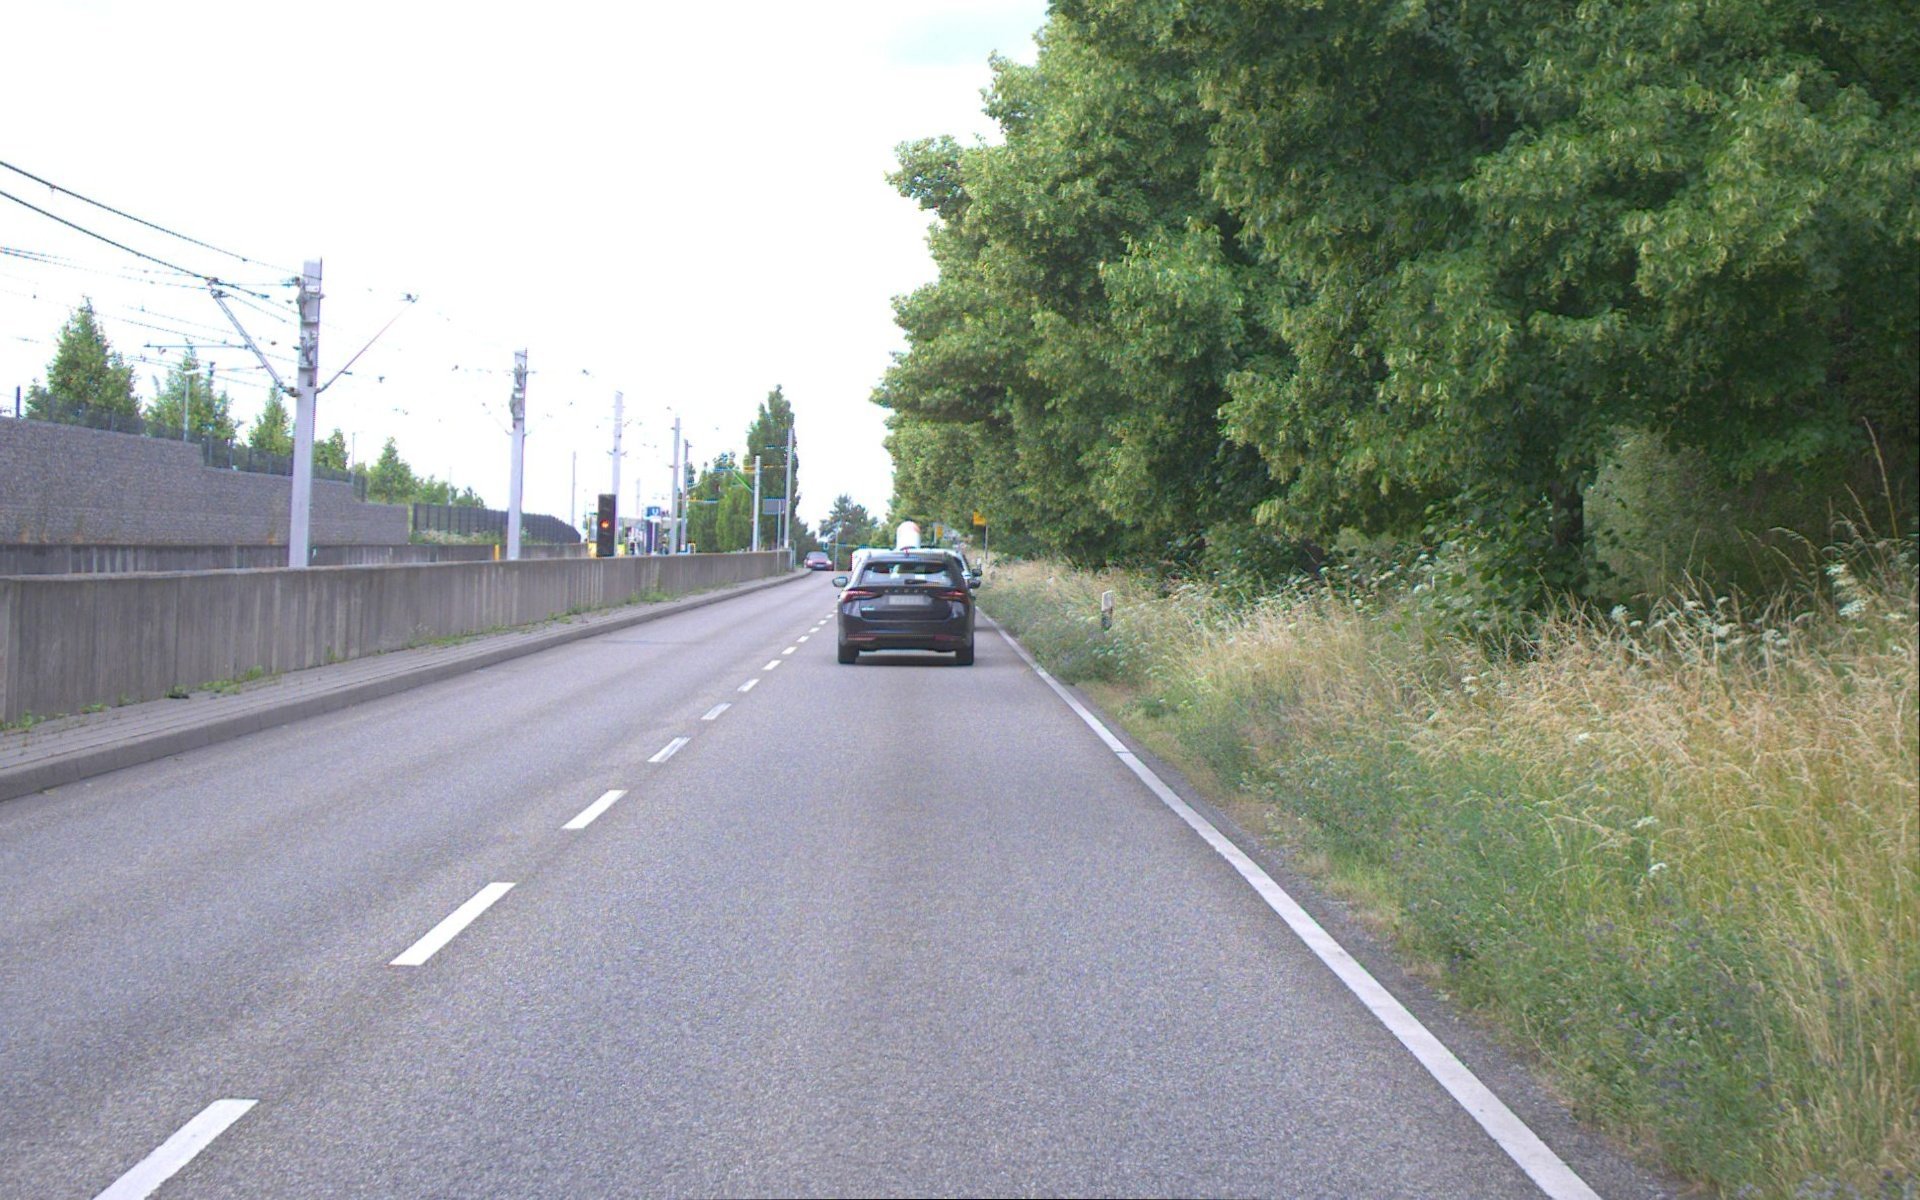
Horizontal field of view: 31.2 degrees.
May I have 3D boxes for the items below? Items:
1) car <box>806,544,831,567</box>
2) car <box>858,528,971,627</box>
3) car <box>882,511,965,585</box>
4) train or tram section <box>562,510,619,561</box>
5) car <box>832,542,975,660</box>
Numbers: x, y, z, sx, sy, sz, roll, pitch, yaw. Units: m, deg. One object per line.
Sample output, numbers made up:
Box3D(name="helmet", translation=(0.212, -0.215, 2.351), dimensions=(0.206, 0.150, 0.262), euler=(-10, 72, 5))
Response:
Box3D(name="car", translation=(-9.685, -3.038, 235.184), dimensions=(1.662, 1.540, 3.953), euler=(0, 1, -1))
Box3D(name="car", translation=(-0.835, -0.427, 63.110), dimensions=(1.993, 1.747, 4.000), euler=(0, 1, -1))
Box3D(name="car", translation=(-0.907, -1.265, 84.996), dimensions=(1.993, 1.734, 4.000), euler=(1, 0, -1))
Box3D(name="train or tram section", translation=(-25.208, -4.322, 233.704), dimensions=(2.811, 3.106, 18.920), euler=(1, 0, -9))
Box3D(name="car", translation=(-0.726, -0.020, 44.940), dimensions=(1.781, 1.463, 4.000), euler=(0, 1, -1))
